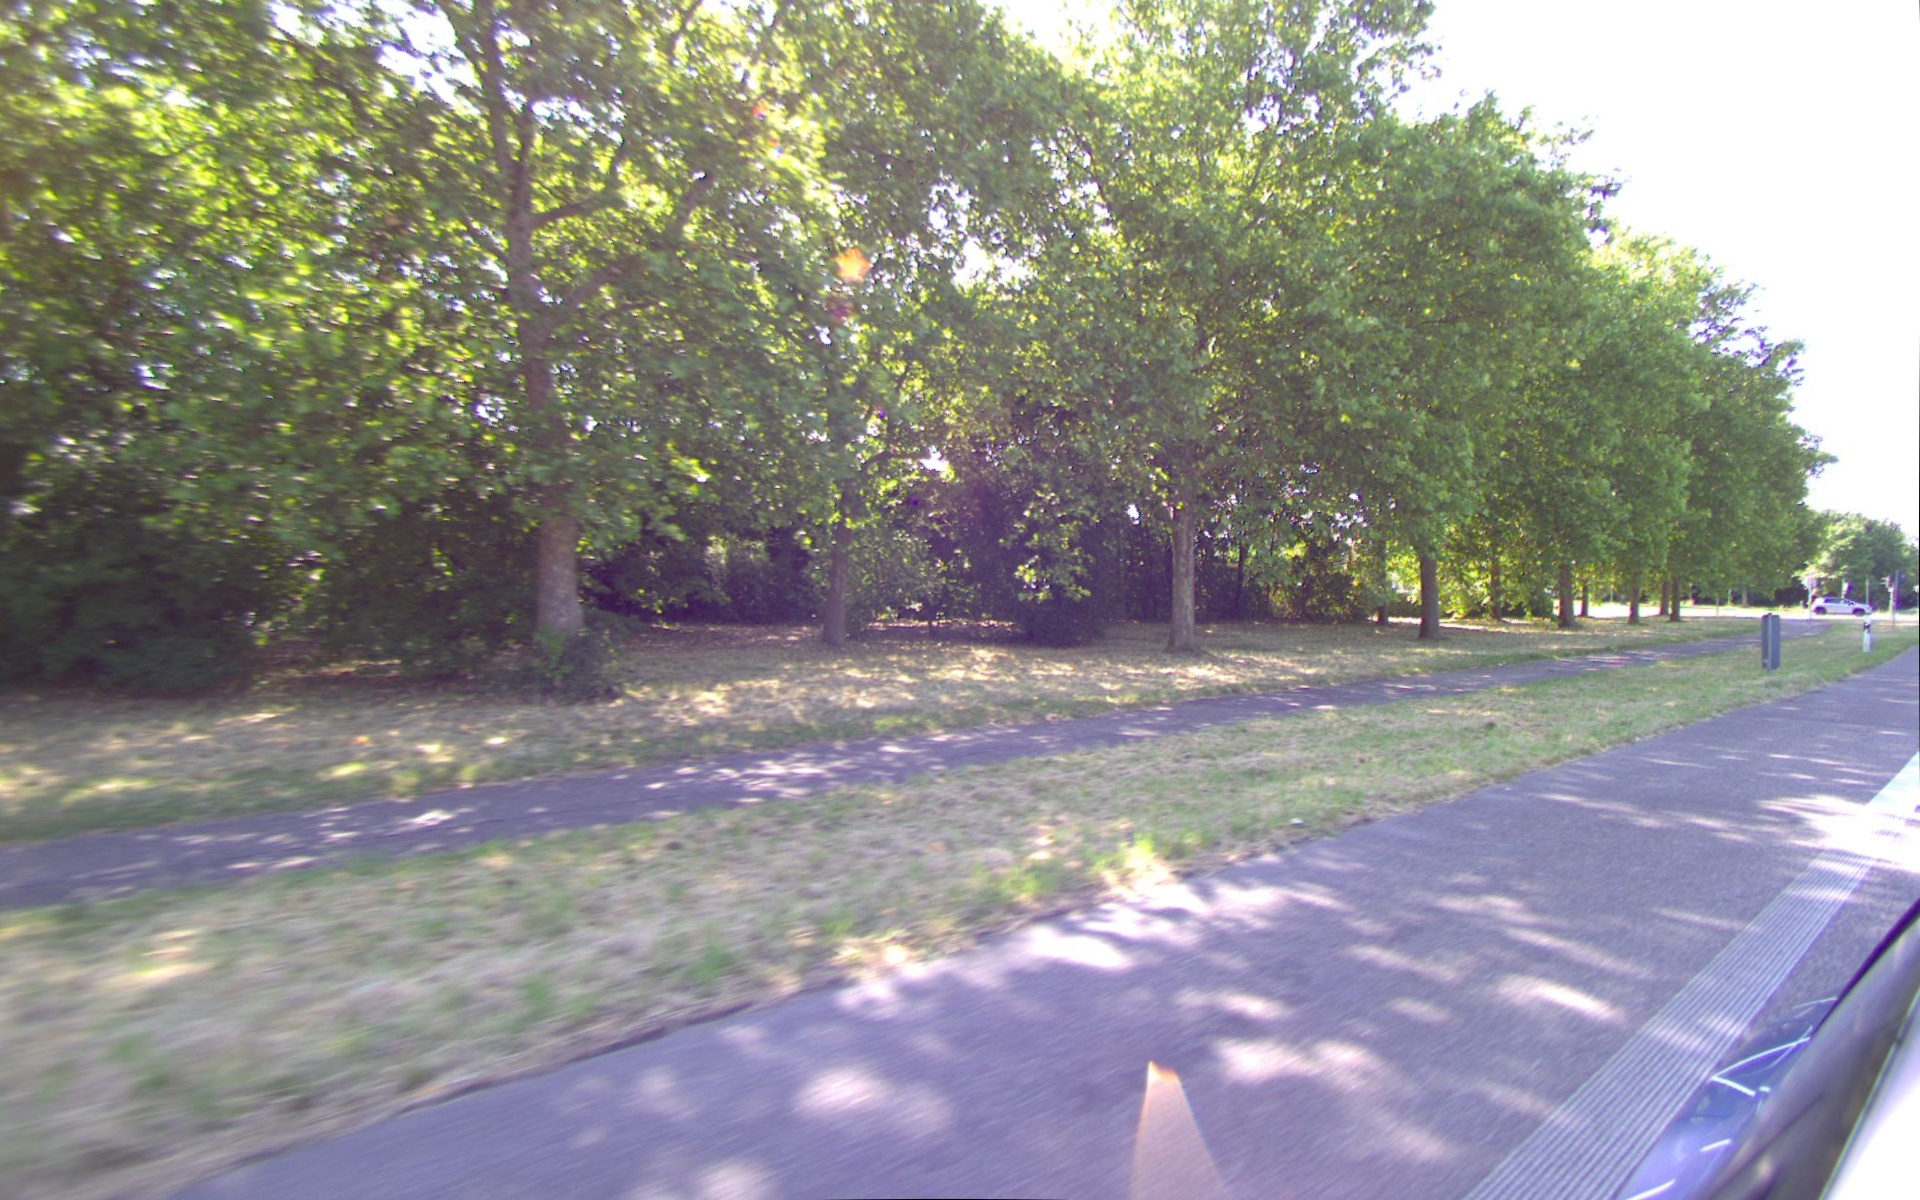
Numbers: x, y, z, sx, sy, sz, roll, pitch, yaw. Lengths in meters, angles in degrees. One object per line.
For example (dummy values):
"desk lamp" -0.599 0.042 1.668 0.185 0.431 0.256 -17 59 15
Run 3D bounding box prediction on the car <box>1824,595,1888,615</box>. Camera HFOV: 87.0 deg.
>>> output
"car" 77.708 0.395 87.824 1.714 1.583 4.055 0 2 -44
